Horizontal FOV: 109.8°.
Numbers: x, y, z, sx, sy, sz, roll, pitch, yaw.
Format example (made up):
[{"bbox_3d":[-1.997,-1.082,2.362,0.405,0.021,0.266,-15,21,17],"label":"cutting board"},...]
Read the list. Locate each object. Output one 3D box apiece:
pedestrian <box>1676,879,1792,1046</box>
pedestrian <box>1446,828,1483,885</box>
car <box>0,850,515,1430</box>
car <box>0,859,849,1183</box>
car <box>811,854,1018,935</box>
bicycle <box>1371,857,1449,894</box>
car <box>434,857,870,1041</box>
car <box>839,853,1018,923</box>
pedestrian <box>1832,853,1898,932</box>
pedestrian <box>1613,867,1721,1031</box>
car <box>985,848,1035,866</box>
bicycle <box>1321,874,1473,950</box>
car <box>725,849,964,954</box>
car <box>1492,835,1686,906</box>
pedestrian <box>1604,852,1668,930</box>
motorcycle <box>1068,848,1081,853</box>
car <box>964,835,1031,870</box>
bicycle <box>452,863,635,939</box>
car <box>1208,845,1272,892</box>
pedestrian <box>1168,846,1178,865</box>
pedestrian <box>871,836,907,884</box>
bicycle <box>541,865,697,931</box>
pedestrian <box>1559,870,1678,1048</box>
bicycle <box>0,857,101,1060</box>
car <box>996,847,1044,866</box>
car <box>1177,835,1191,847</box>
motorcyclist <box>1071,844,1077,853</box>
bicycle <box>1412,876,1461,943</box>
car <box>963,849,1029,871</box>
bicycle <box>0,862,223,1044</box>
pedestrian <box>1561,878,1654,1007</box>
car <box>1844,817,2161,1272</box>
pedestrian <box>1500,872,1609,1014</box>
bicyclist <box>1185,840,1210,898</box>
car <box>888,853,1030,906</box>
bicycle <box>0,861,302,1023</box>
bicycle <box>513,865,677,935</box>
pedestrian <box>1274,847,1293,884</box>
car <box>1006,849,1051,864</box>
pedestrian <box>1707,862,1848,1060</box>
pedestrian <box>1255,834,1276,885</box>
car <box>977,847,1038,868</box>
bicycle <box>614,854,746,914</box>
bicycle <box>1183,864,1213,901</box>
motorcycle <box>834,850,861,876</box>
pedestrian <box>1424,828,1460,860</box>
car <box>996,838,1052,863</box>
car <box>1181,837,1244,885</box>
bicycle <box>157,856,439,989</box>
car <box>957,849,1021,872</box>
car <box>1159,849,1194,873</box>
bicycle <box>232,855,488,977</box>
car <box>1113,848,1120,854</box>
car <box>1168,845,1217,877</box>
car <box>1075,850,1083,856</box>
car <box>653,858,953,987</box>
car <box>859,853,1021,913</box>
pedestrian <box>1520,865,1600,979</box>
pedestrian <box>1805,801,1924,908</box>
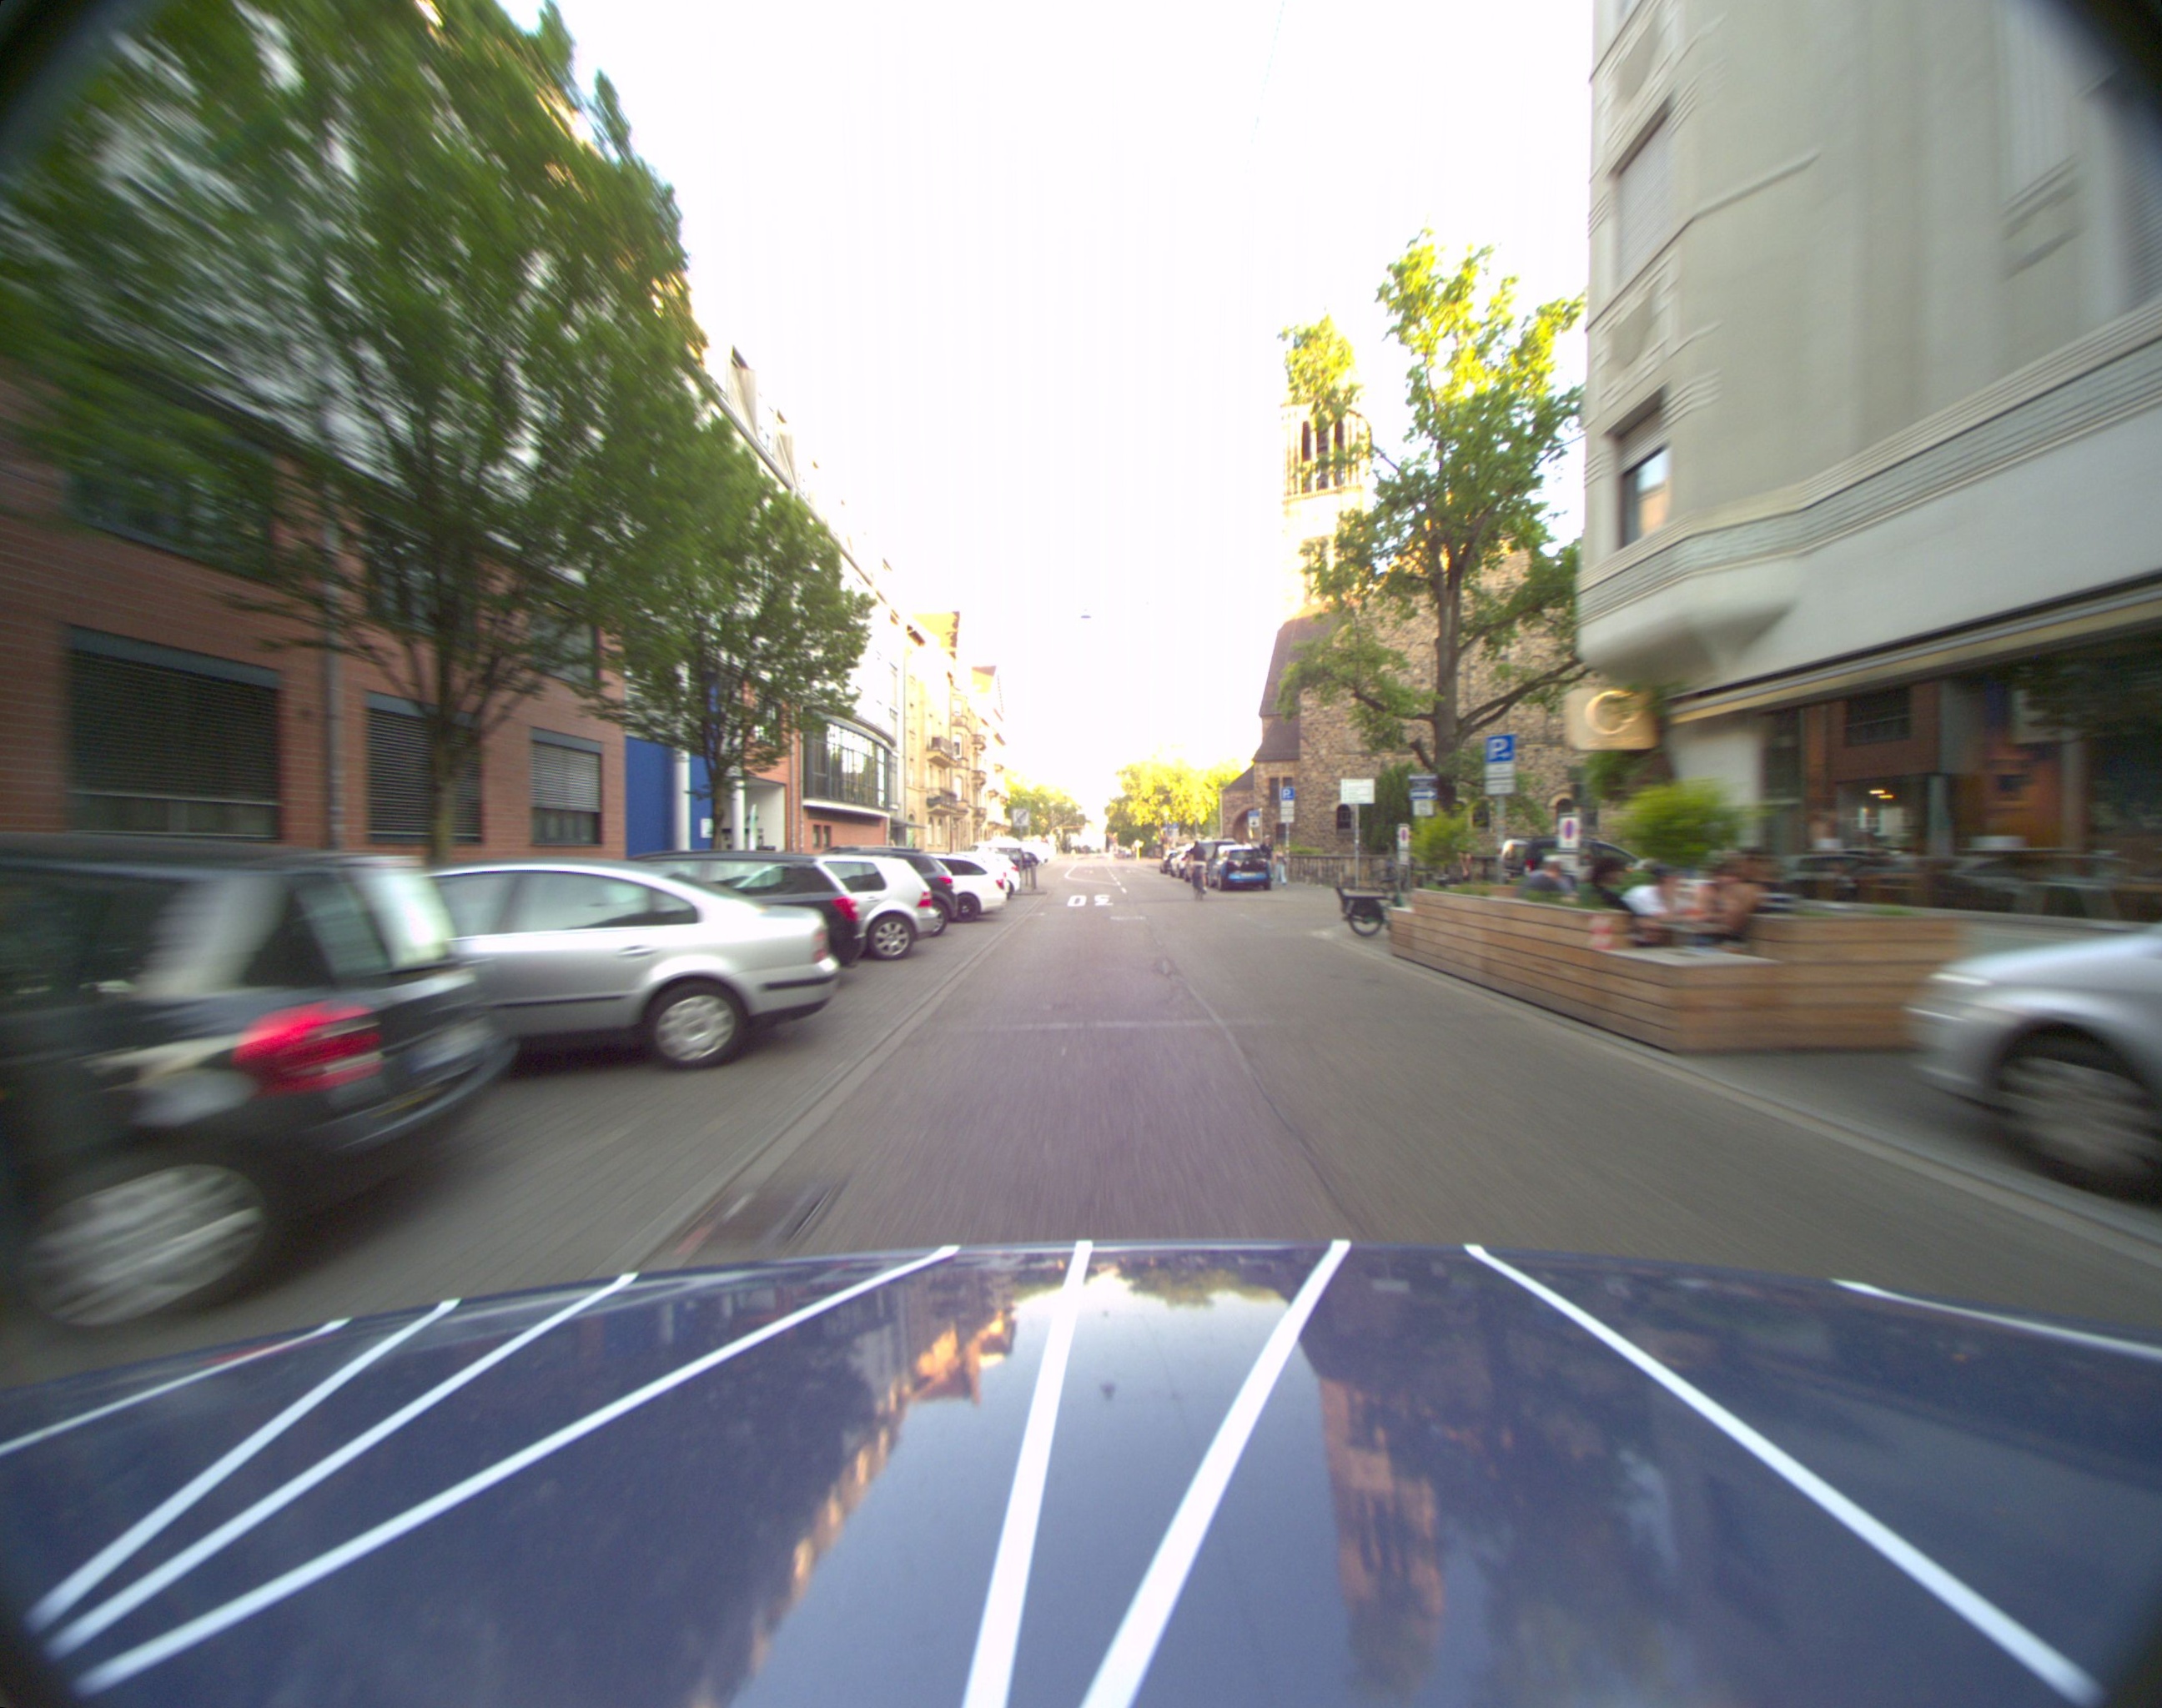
[{"bbox_3d":[5.615,0.907,6.560,0.469,1.342,0.611,-1,1,0],"label":"pedestrian"},{"bbox_3d":[11.904,0.074,23.615,0.708,1.711,0.837,0,1,-1],"label":"pedestrian"},{"bbox_3d":[-4.615,0.799,2.545,4.003,1.627,1.755,1,0,-19],"label":"car"},{"bbox_3d":[-3.967,0.817,5.174,4.392,1.525,1.803,0,1,-23],"label":"car"},{"bbox_3d":[-3.508,0.775,16.178,4.006,1.528,1.632,0,0,-30],"label":"car"},{"bbox_3d":[10.107,0.665,23.389,2.144,1.127,0.555,0,1,2],"label":"bicycle"},{"bbox_3d":[-4.212,0.815,7.954,3.611,1.525,1.559,0,1,-27],"label":"car"},{"bbox_3d":[-3.729,0.764,18.708,4.006,1.514,1.705,0,2,-30],"label":"car"},{"bbox_3d":[15.030,0.726,14.587,0.573,1.492,0.644,0,1,0],"label":"pedestrian"},{"bbox_3d":[5.077,0.792,6.615,0.469,1.342,0.611,-1,1,0],"label":"pedestrian"},{"bbox_3d":[-6.386,0.299,68.646,4.066,1.490,1.749,2,1,-34],"label":"car"},{"bbox_3d":[4.838,0.863,11.708,2.111,1.088,0.502,-1,0,26],"label":"bicycle"},{"bbox_3d":[-4.040,0.709,13.113,3.612,1.571,1.712,0,1,-32],"label":"car"},{"bbox_3d":[13.808,0.422,20.867,3.995,1.833,1.891,0,1,4],"label":"car"},{"bbox_3d":[11.135,0.722,15.264,0.703,1.531,0.783,0,1,0],"label":"pedestrian"},{"bbox_3d":[-1.202,-0.693,135.874,2.288,0.917,0.621,0,1,-24],"label":"motorcycle"},{"bbox_3d":[-6.310,-0.167,57.586,4.733,2.532,1.913,-1,2,-28],"label":"car"},{"bbox_3d":[-8.429,0.724,11.960,2.540,1.160,0.562,0,1,3],"label":"bicycle"},{"bbox_3d":[5.606,0.476,27.206,1.644,1.546,4.004,-1,0,3],"label":"car"},{"bbox_3d":[8.334,0.123,68.820,0.716,1.715,0.691,0,1,-9],"label":"pedestrian"},{"bbox_3d":[-8.458,0.249,33.509,0.608,2.002,0.857,25,2,2],"label":"pedestrian"},{"bbox_3d":[-8.359,0.787,13.793,2.540,1.160,0.562,0,1,3],"label":"bicycle"},{"bbox_3d":[4.335,0.814,6.164,0.485,1.342,0.669,-1,1,0],"label":"pedestrian"},{"bbox_3d":[-8.575,0.712,5.413,2.540,1.371,0.599,0,1,3],"label":"bicycle"},{"bbox_3d":[-5.756,0.234,71.705,4.107,1.598,1.811,2,1,-37],"label":"car"},{"bbox_3d":[17.712,-2.153,130.374,1.865,2.002,3.815,0,1,16],"label":"car"},{"bbox_3d":[-1.303,-0.993,135.835,0.830,1.511,0.621,-1,1,-24],"label":"motorcyclist"},{"bbox_3d":[5.873,0.885,12.603,0.424,1.006,1.720,-1,-1,15],"label":"bicycle"},{"bbox_3d":[-6.184,0.409,55.070,4.363,1.494,1.909,0,1,-27],"label":"car"},{"bbox_3d":[-8.468,0.756,6.120,2.540,1.371,0.599,0,1,3],"label":"bicycle"},{"bbox_3d":[5.740,0.938,8.319,0.538,1.317,0.705,-1,1,2],"label":"pedestrian"},{"bbox_3d":[4.732,0.646,1.568,1.998,1.582,4.314,-2,1,0],"label":"car"},{"bbox_3d":[4.703,0.852,7.585,0.610,1.317,0.770,-1,1,0],"label":"pedestrian"},{"bbox_3d":[3.457,0.425,22.611,0.604,1.675,1.142,0,1,1],"label":"bicyclist"},{"bbox_3d":[-3.785,0.728,23.683,4.006,1.498,1.766,0,1,-28],"label":"car"},{"bbox_3d":[-8.522,0.753,6.815,2.540,1.371,0.599,0,1,3],"label":"bicycle"},{"bbox_3d":[-8.408,0.782,13.184,2.540,1.160,0.562,0,1,3],"label":"bicycle"},{"bbox_3d":[7.658,0.426,28.735,0.533,1.397,0.659,-2,1,1],"label":"pedestrian"},{"bbox_3d":[-5.565,0.256,80.787,4.263,1.445,1.994,1,1,-37],"label":"car"},{"bbox_3d":[5.007,0.737,5.489,0.518,1.342,0.540,-1,1,-2],"label":"pedestrian"},{"bbox_3d":[6.983,0.193,28.769,0.583,1.894,0.803,0,1,-2],"label":"pedestrian"},{"bbox_3d":[-5.850,0.304,60.514,4.406,1.478,1.839,2,0,-29],"label":"car"},{"bbox_3d":[-8.254,0.601,15.668,2.351,1.093,0.680,3,1,3],"label":"bicycle"},{"bbox_3d":[3.462,0.822,22.627,0.616,1.034,1.904,0,1,1],"label":"bicycle"},{"bbox_3d":[-10.594,0.381,34.551,0.589,1.097,2.083,2,1,-2],"label":"motorcycle"},{"bbox_3d":[11.180,-0.299,23.523,0.708,0.975,0.837,0,1,-1],"label":"pedestrian"},{"bbox_3d":[-6.231,-0.352,83.509,5.897,2.537,2.189,1,2,-40],"label":"car"},{"bbox_3d":[5.547,0.256,32.608,1.998,1.856,5.290,-1,0,2],"label":"car"},{"bbox_3d":[-8.446,0.710,8.240,2.540,1.371,0.599,0,1,3],"label":"bicycle"},{"bbox_3d":[-6.357,0.425,52.573,4.076,1.483,1.719,0,1,-30],"label":"car"},{"bbox_3d":[5.923,0.374,47.603,1.787,1.427,4.316,0,1,2],"label":"car"},{"bbox_3d":[-8.459,0.703,8.955,2.540,1.371,0.599,0,1,3],"label":"bicycle"},{"bbox_3d":[9.779,-0.779,207.869,1.827,1.565,4.001,-1,0,5],"label":"car"},{"bbox_3d":[5.764,0.339,39.658,1.876,1.582,4.468,0,1,-1],"label":"car"},{"bbox_3d":[-0.541,-0.336,213.058,1.794,1.571,4.001,0,0,4],"label":"car"},{"bbox_3d":[-3.778,0.817,10.491,3.610,1.474,1.718,0,1,-26],"label":"car"},{"bbox_3d":[-3.869,0.731,21.056,4.007,1.465,1.870,0,2,-32],"label":"car"},{"bbox_3d":[5.779,0.798,9.202,0.538,1.317,0.705,-1,1,2],"label":"pedestrian"},{"bbox_3d":[8.754,0.004,8.517,0.558,1.147,0.748,-1,1,0],"label":"pedestrian"}]
